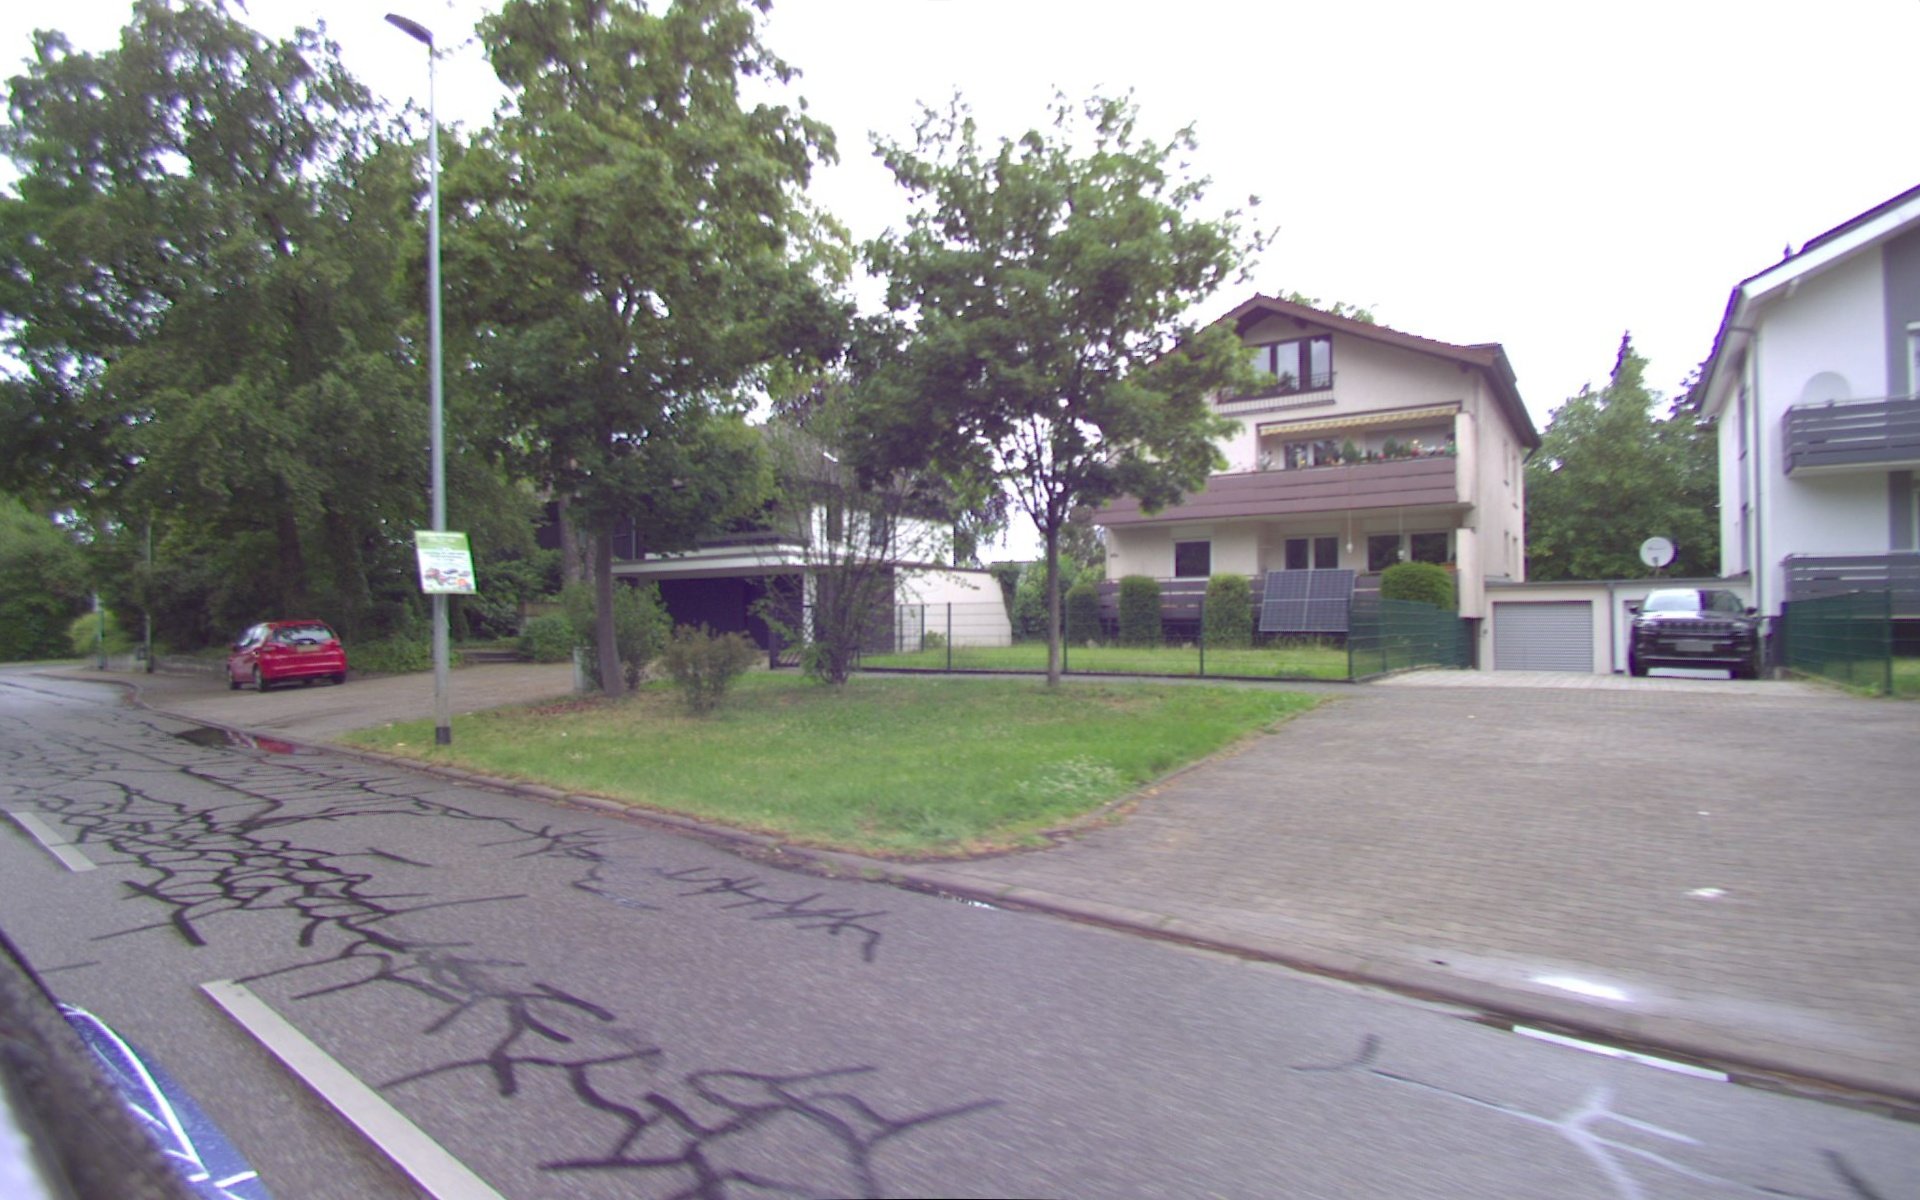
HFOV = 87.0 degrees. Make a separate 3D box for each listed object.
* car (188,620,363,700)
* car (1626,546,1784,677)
[{"bbox_3d":[-15.745,1.345,23.233,3.991,1.527,1.977,-3,2,35],"label":"car"},{"bbox_3d":[13.055,0.260,17.899,1.995,2.029,3.952,-2,-3,35],"label":"car"}]
